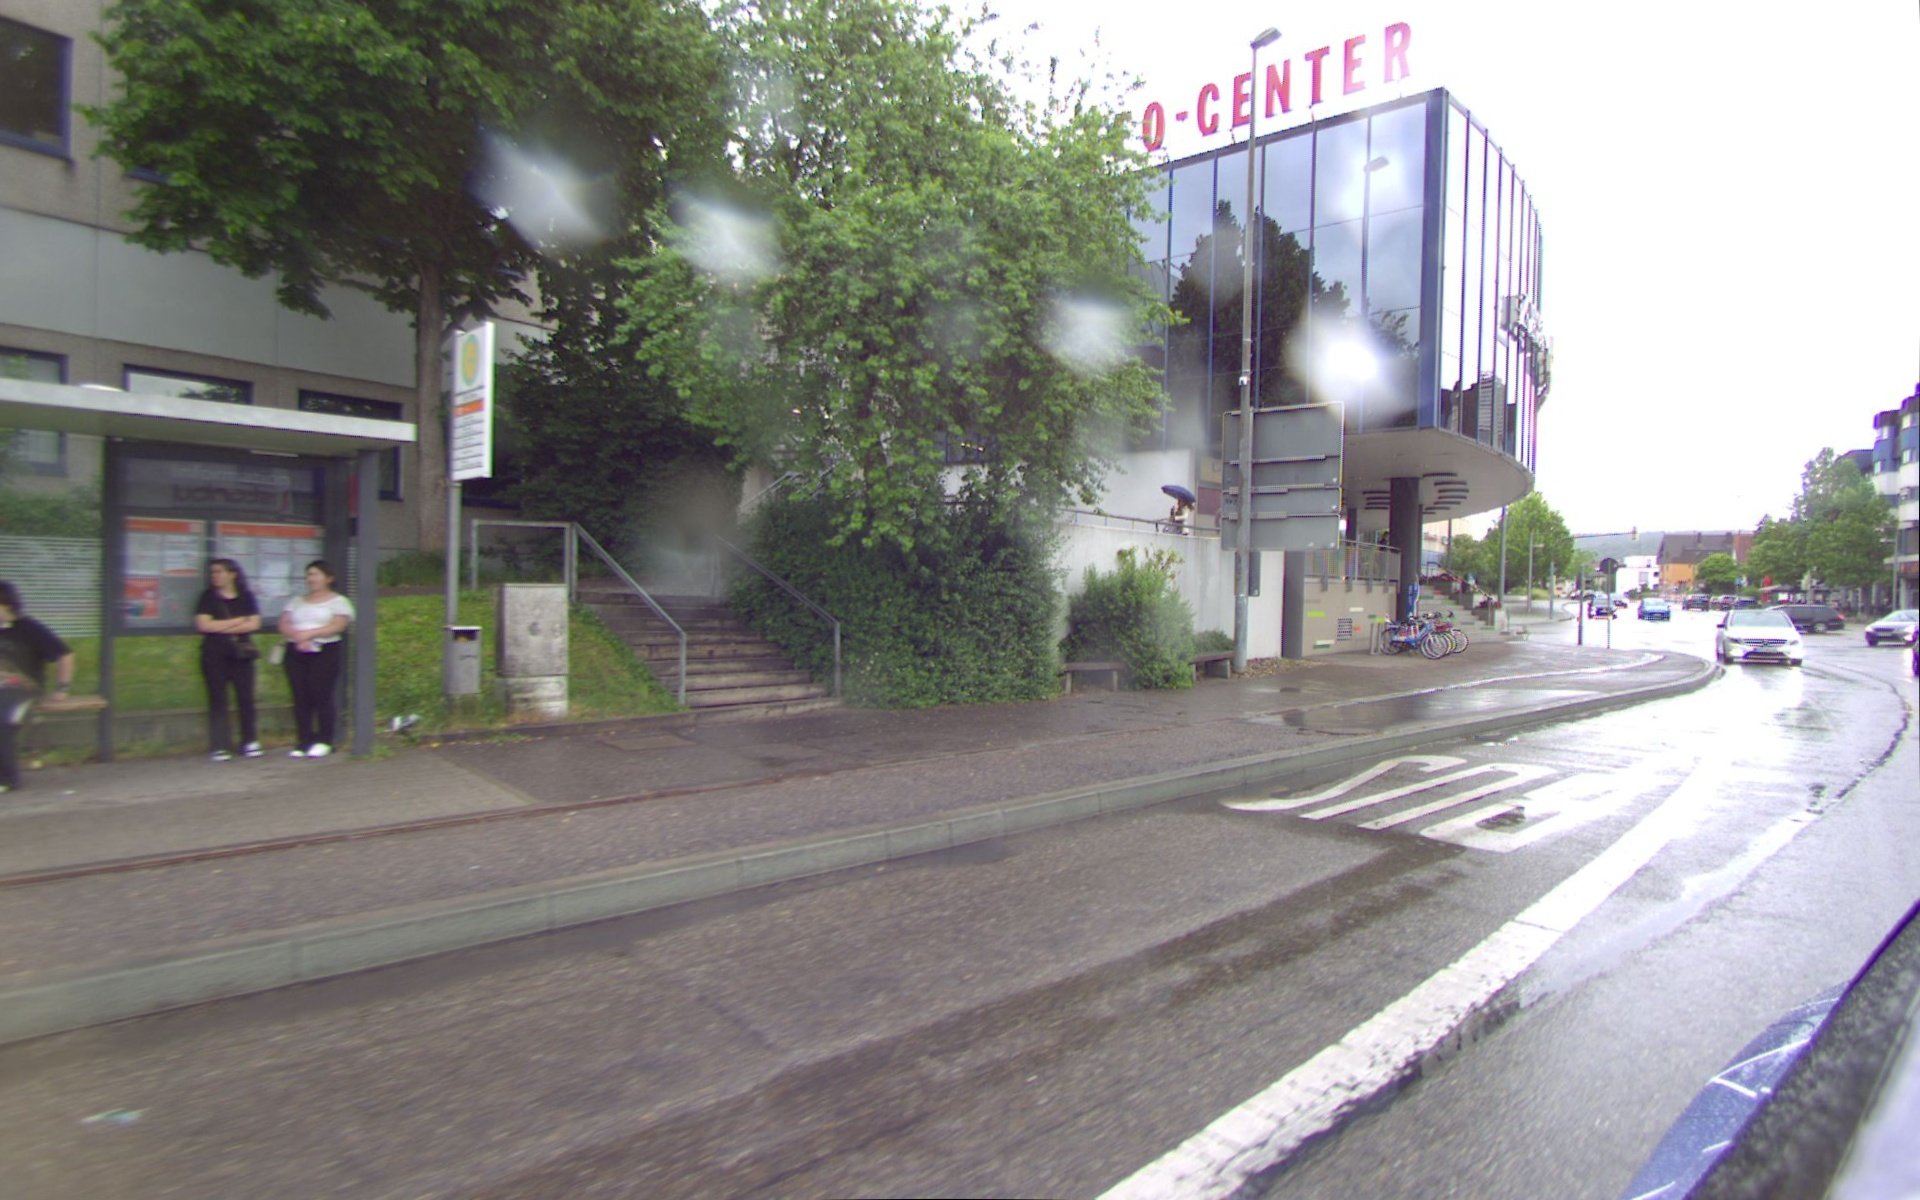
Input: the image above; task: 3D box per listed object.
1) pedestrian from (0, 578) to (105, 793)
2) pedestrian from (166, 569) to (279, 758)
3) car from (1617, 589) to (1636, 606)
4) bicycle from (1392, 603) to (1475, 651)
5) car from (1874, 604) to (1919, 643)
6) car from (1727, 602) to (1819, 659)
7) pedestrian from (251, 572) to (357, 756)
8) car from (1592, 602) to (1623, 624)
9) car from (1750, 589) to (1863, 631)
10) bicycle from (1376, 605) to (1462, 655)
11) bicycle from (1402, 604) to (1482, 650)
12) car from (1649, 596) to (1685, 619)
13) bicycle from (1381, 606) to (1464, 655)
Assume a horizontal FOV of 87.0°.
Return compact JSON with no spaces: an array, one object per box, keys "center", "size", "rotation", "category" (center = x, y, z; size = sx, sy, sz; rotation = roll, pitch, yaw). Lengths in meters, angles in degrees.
[{"center":[-6.235,0.526,6.735],"size":[1.029,1.297,0.681],"rotation":[4,2,42],"category":"pedestrian"},{"center":[-5.623,0.471,7.730],"size":[0.532,1.382,0.412],"rotation":[3,1,-5],"category":"pedestrian"},{"center":[67.106,-0.293,101.855],"size":[1.573,1.660,3.597],"rotation":[1,0,33],"category":"car"},{"center":[12.408,0.702,26.555],"size":[1.809,1.124,0.683],"rotation":[4,2,42],"category":"bicycle"},{"center":[39.032,0.960,41.235],"size":[3.763,1.509,1.635],"rotation":[1,0,-31],"category":"car"},{"center":[23.820,0.854,29.788],"size":[1.751,1.569,4.272],"rotation":[-2,-1,34],"category":"car"},{"center":[-5.126,0.487,7.922],"size":[0.532,1.382,0.412],"rotation":[3,1,-4],"category":"pedestrian"},{"center":[47.457,0.949,74.163],"size":[1.888,1.545,3.952],"rotation":[1,0,33],"category":"car"},{"center":[43.387,0.490,51.976],"size":[4.157,2.039,1.777],"rotation":[1,0,31],"category":"car"},{"center":[11.483,0.736,25.367],"size":[1.809,1.124,0.683],"rotation":[4,2,42],"category":"bicycle"},{"center":[13.172,0.708,27.687],"size":[1.829,1.124,0.684],"rotation":[3,2,42],"category":"bicycle"},{"center":[49.912,0.526,71.506],"size":[1.888,1.545,3.952],"rotation":[1,0,33],"category":"car"},{"center":[11.863,0.759,25.994],"size":[1.801,1.098,0.674],"rotation":[4,2,42],"category":"bicycle"}]
